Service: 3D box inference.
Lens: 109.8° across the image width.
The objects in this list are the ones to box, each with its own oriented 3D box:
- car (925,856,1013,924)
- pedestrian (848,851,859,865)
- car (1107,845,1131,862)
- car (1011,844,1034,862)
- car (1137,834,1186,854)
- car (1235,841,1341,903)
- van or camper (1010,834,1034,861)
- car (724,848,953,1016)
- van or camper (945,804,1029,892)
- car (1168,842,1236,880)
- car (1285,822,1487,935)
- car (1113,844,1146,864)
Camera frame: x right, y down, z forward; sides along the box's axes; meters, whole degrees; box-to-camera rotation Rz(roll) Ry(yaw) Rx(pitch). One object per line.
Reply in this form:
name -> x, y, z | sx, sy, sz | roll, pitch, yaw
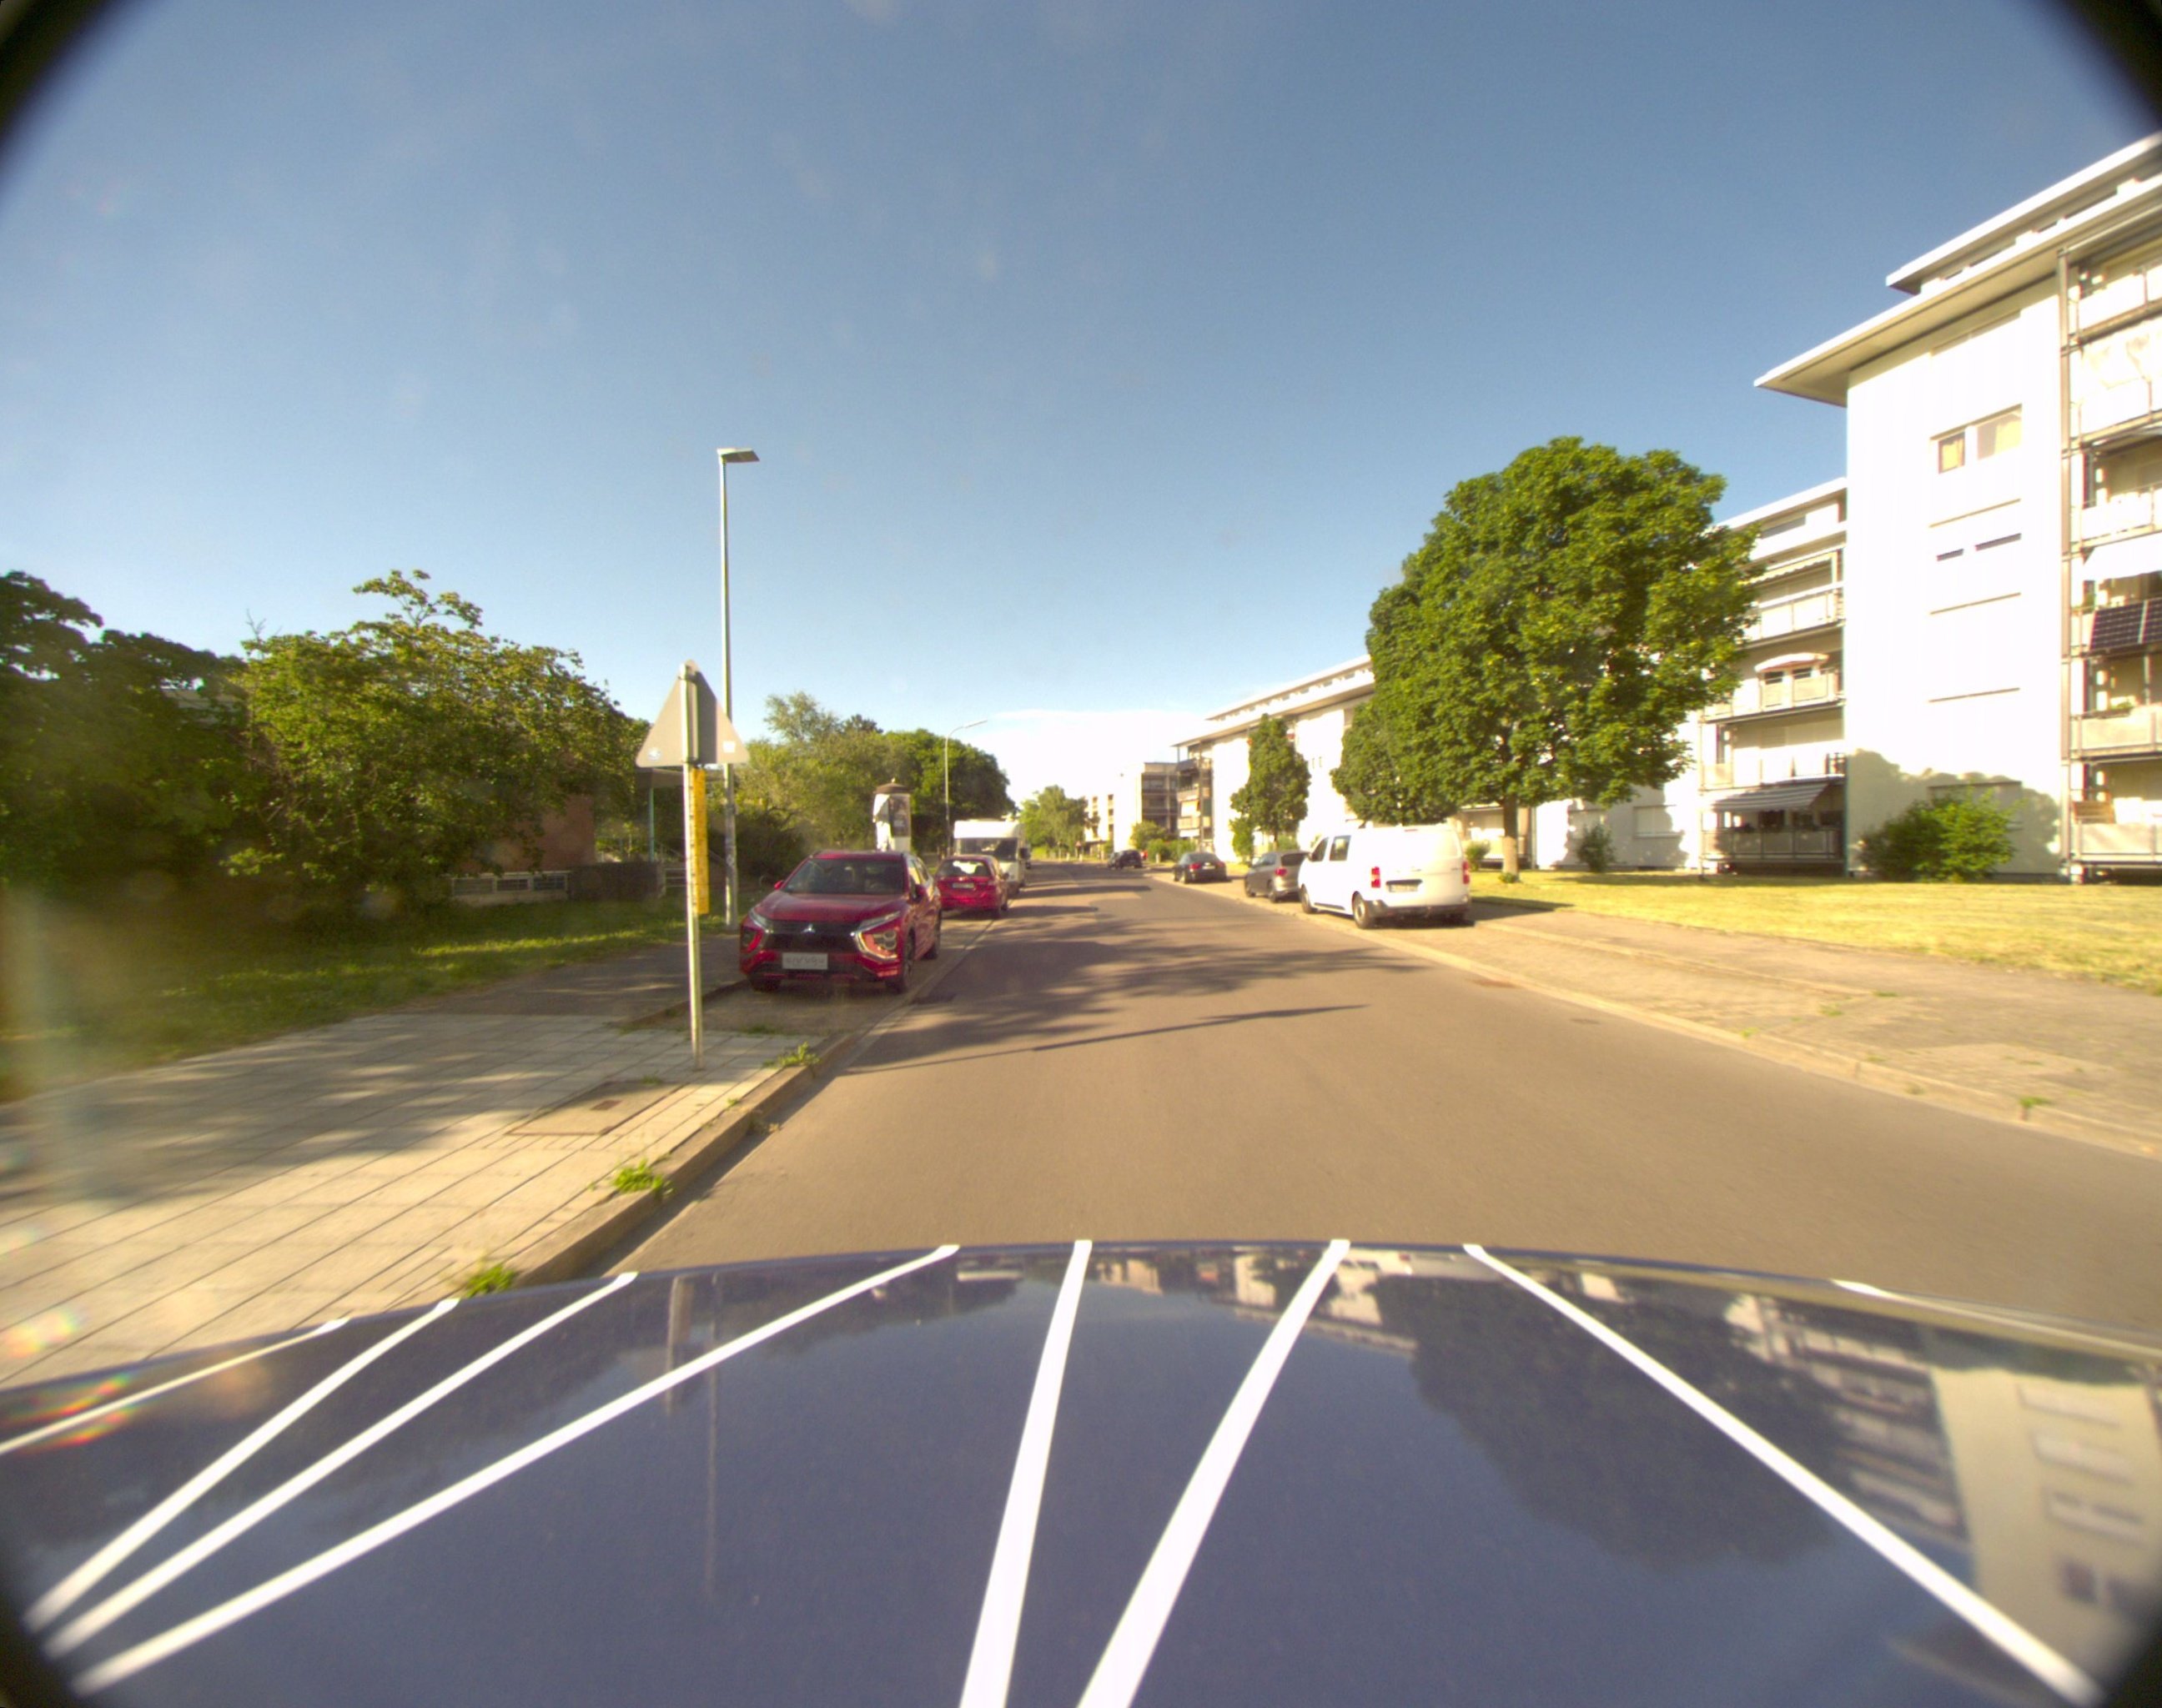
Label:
car -> -2.731, 0.833, 19.388 | 1.696, 1.465, 3.999 | -1, 1, -1
pedestrian -> -17.415, 0.280, 58.205 | 0.704, 1.082, 0.722 | 0, 1, -10
car -> 3.480, -0.048, 70.107 | 1.651, 1.458, 4.328 | -2, 1, -4
car -> -5.530, -0.111, 71.456 | 2.000, 1.631, 4.533 | 0, 1, -7
car -> 10.418, -1.267, 98.098 | 5.923, 2.414, 2.212 | 0, 0, -7
car -> 5.937, 0.444, 22.285 | 1.838, 1.509, 4.220 | -3, 1, -1
van or camper -> -6.108, -0.676, 78.210 | 2.359, 2.581, 6.421 | 2, 1, -5
car -> -2.886, 0.794, 10.171 | 1.780, 1.670, 4.642 | 1, 1, -3
van or camper -> -3.301, -0.243, 28.200 | 2.503, 2.829, 6.848 | -1, 1, -2
car -> 5.472, 0.259, 35.096 | 2.040, 1.484, 5.254 | -4, 1, -2
car -> 5.997, 0.376, 15.787 | 2.019, 1.875, 5.189 | -3, 1, -1
car -> 4.030, -0.038, 63.846 | 1.920, 1.595, 4.808 | -1, 1, -6
